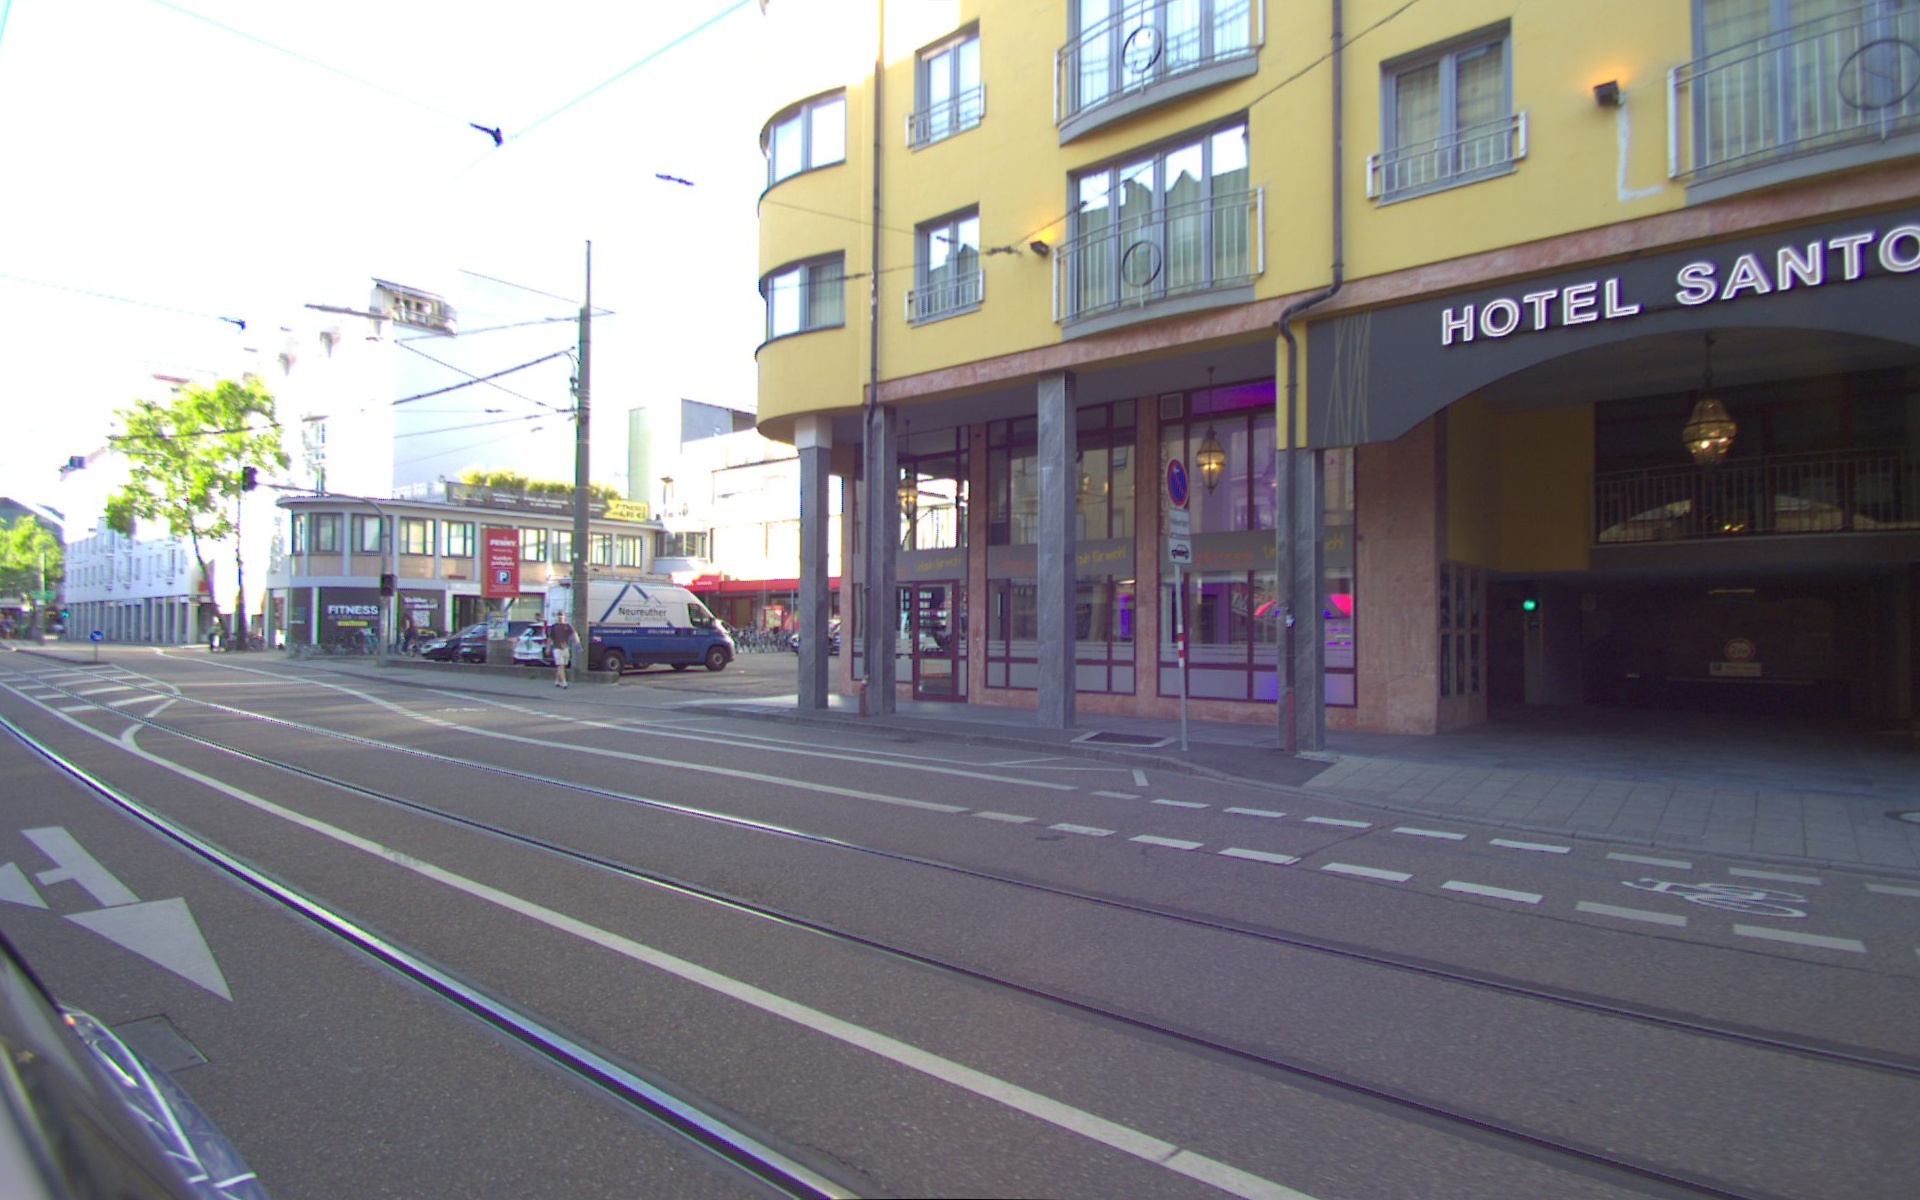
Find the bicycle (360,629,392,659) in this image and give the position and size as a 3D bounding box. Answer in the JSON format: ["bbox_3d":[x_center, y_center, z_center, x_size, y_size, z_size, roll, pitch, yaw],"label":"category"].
[{"bbox_3d":[-24.070,1.809,41.693,1.828,1.196,0.438,-2,-3,38],"label":"bicycle"}]

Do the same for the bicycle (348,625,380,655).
[{"bbox_3d":[-24.433,1.641,41.472,1.828,1.196,0.444,-2,-3,38],"label":"bicycle"}]

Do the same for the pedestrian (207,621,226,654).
[{"bbox_3d":[-39.945,2.009,54.391,0.621,1.729,0.828,1,-2,-22],"label":"pedestrian"}]

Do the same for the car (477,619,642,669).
[{"bbox_3d":[-12.704,1.400,32.340,1.878,1.487,4.541,-2,-3,40],"label":"car"}]

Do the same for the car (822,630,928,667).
[{"bbox_3d":[-3.242,1.843,39.262,1.997,1.364,3.949,-1,-2,38],"label":"car"}]

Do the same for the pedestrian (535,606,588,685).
[{"bbox_3d":[-9.537,1.086,24.236,0.908,1.846,0.825,-2,-3,40],"label":"pedestrian"}]

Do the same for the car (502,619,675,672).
[{"bbox_3d":[-11.048,1.343,30.334,1.878,1.487,4.541,-2,-3,40],"label":"car"}]

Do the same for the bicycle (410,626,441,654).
[{"bbox_3d":[-22.563,1.689,42.699,1.828,1.196,0.444,-2,-3,38],"label":"bicycle"}]

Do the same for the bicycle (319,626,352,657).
[{"bbox_3d":[-25.317,1.680,41.029,1.827,1.196,0.441,-2,-3,34],"label":"bicycle"}]

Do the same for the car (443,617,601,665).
[{"bbox_3d":[-14.652,1.377,34.059,1.878,1.487,4.541,-2,-3,40],"label":"car"}]

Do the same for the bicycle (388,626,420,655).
[{"bbox_3d":[-22.874,1.657,41.592,1.828,1.196,0.444,-2,-3,38],"label":"bicycle"}]

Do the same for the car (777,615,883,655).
[{"bbox_3d":[-5.153,1.361,40.435,1.997,1.519,3.949,-1,-2,38],"label":"car"}]

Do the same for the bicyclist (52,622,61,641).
[{"bbox_3d":[-83.930,2.948,94.032,0.807,1.713,0.508,-1,-1,41],"label":"bicyclist"}]

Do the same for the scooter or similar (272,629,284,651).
[{"bbox_3d":[-36.352,2.132,53.954,0.330,1.120,1.184,1,-2,-27],"label":"scooter or similar"}]

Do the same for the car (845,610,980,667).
[{"bbox_3d":[-1.568,1.245,32.885,4.116,1.749,1.974,-1,-3,39],"label":"car"}]

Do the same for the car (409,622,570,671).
[{"bbox_3d":[-16.601,1.628,35.896,1.878,1.595,4.844,-2,-3,40],"label":"car"}]

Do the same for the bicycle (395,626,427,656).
[{"bbox_3d":[-22.870,1.709,42.138,1.828,1.196,0.444,-2,-3,38],"label":"bicycle"}]

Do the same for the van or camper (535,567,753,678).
[{"bbox_3d":[-8.907,0.564,28.981,2.314,2.848,5.548,-2,-1,41],"label":"van or camper"}]

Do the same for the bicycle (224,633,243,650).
[{"bbox_3d":[-38.725,2.206,53.939,1.850,0.919,0.384,-1,-1,41],"label":"bicycle"}]

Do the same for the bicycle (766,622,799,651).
[{"bbox_3d":[-7.604,1.555,43.295,0.426,1.196,1.833,2,-2,-43],"label":"bicycle"}]

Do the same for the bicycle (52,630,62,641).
[{"bbox_3d":[-83.958,3.313,94.113,1.726,0.996,0.511,-1,-1,41],"label":"bicycle"}]

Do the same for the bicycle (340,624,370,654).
[{"bbox_3d":[-24.543,1.580,41.031,1.830,1.196,0.436,-2,-3,40],"label":"bicycle"}]

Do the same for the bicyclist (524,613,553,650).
[{"bbox_3d":[-17.667,1.317,42.435,0.687,1.561,0.831,0,-2,23],"label":"bicyclist"}]

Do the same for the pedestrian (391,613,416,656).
[{"bbox_3d":[-22.769,1.414,41.419,0.682,1.710,0.674,-2,-3,38],"label":"pedestrian"}]

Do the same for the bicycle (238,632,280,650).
[{"bbox_3d":[-38.075,2.215,54.974,1.824,0.919,0.389,0,-3,-45],"label":"bicycle"}]
